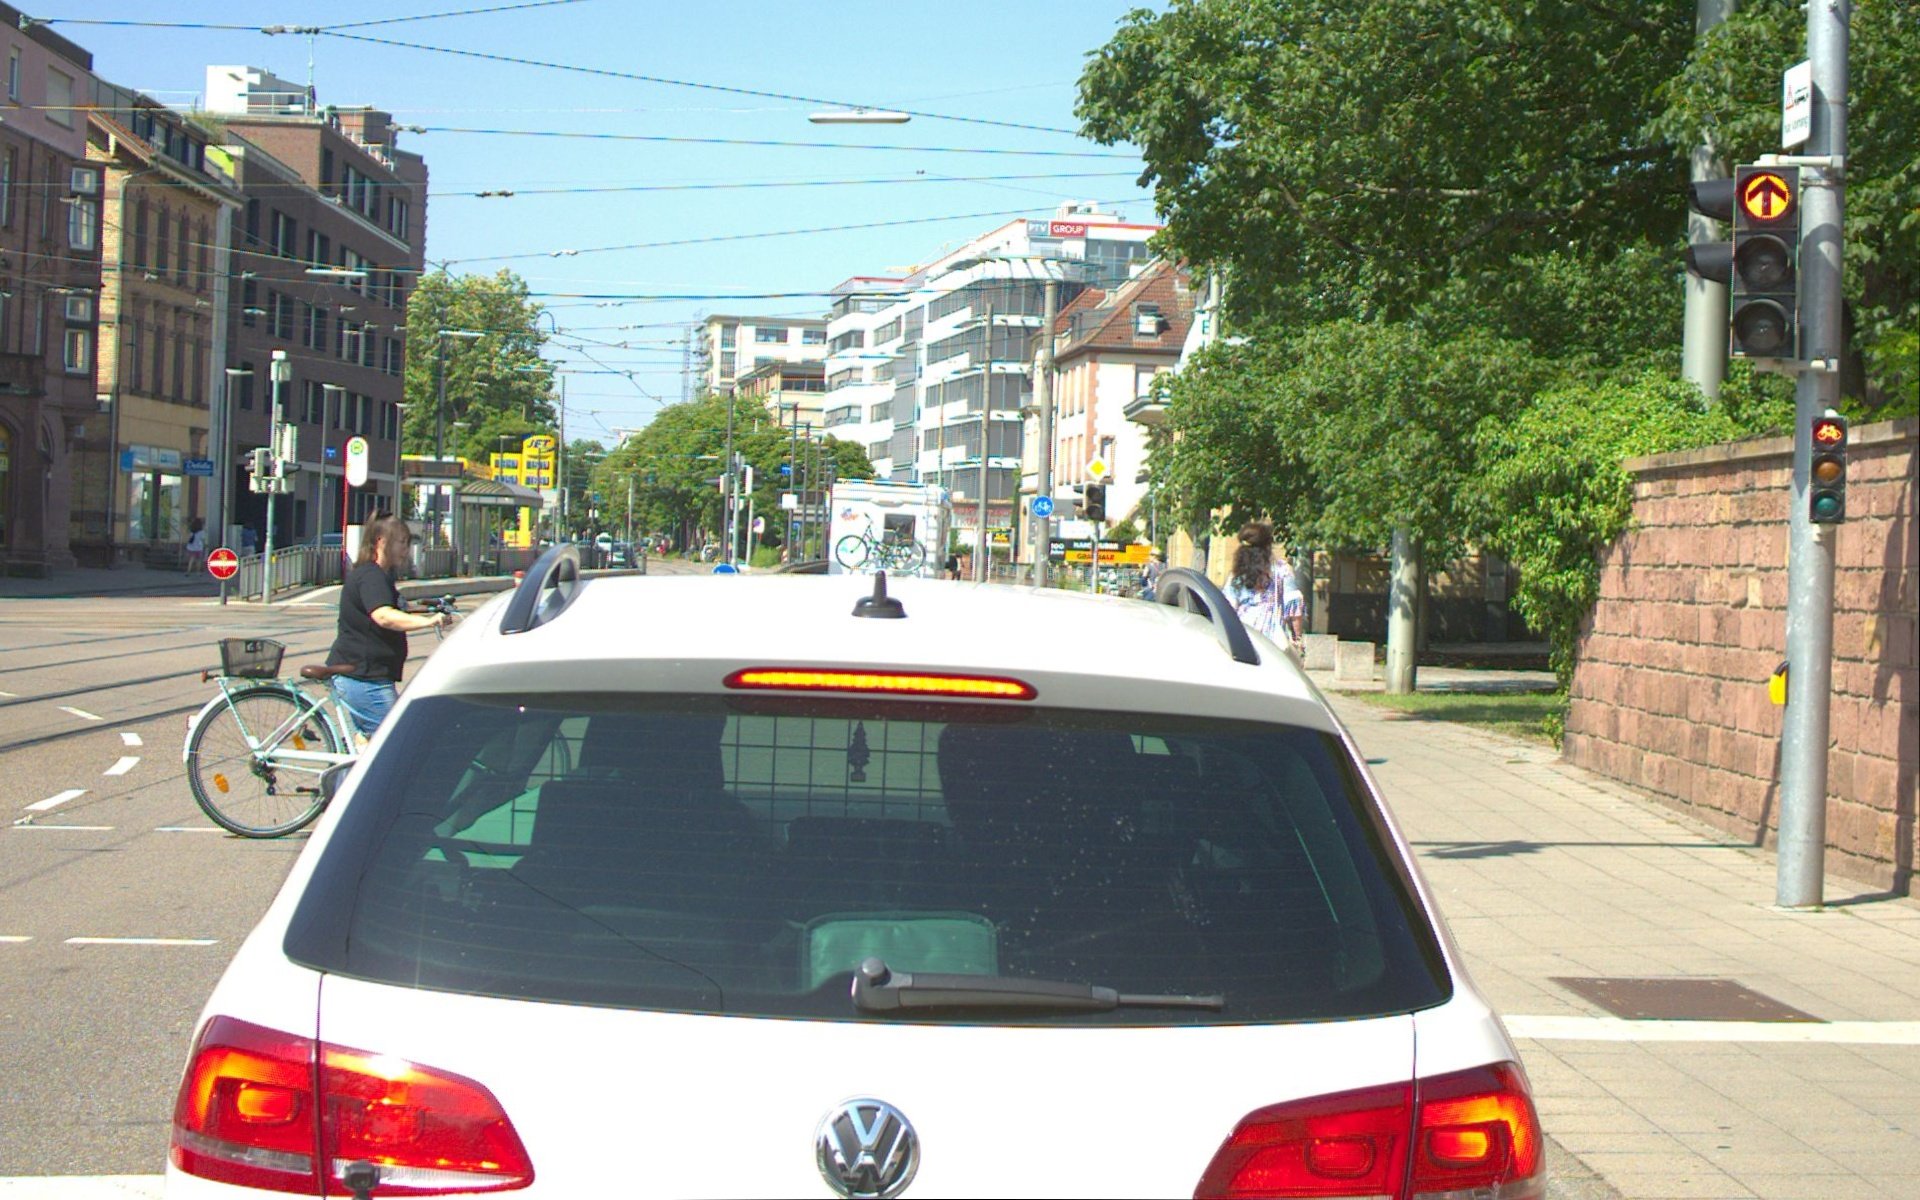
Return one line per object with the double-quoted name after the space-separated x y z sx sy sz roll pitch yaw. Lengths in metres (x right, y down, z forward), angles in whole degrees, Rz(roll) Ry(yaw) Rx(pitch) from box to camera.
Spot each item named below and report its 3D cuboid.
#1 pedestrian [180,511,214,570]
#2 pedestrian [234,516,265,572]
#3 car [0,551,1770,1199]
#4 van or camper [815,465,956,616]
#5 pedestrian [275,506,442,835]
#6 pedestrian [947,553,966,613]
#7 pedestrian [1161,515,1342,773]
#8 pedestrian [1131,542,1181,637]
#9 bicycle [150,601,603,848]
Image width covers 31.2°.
-22.680 -1.762 102.170 0.861 1.737 0.975 0 0 -6 "pedestrian"
-22.324 -1.760 108.000 0.861 1.737 0.975 0 0 -6 "pedestrian"
-0.145 0.679 5.445 1.808 1.443 4.000 2 1 -1 "car"
-1.527 -1.218 73.132 2.567 3.082 5.702 0 0 3 "van or camper"
-2.948 0.331 16.799 0.745 1.566 0.675 0 2 -14 "pedestrian"
-0.138 -0.667 134.340 0.690 2.317 1.232 0 0 1 "pedestrian"
1.918 0.281 22.521 0.954 1.645 0.974 0 0 20 "pedestrian"
3.641 -0.191 63.753 0.862 1.737 0.975 0 0 6 "pedestrian"
-2.757 0.585 16.214 2.019 1.086 0.710 2 1 -15 "bicycle"
